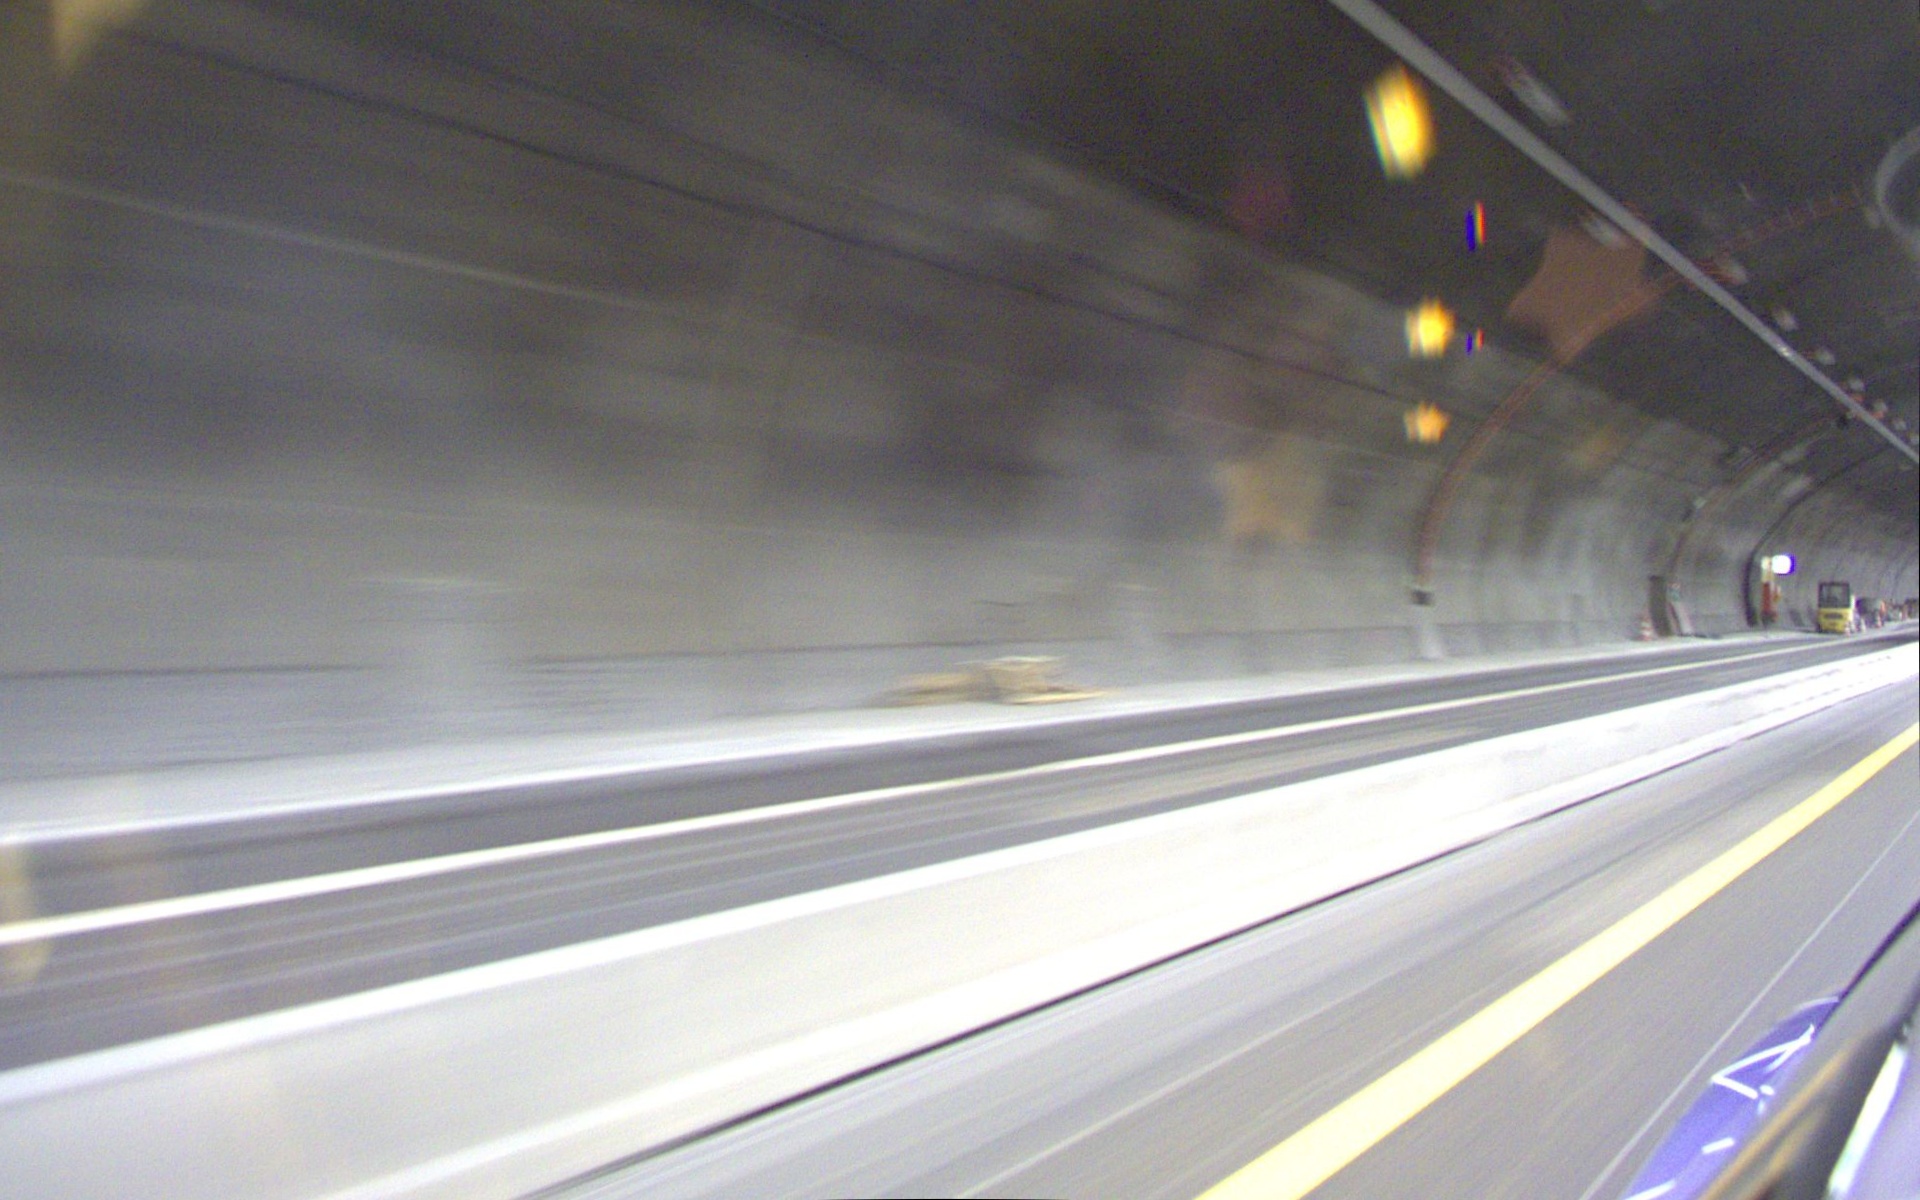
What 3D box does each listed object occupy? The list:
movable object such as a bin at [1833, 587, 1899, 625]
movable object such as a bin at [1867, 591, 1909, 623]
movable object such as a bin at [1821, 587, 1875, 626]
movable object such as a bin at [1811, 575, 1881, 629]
[{"bbox_3d":[45.692,0.287,51.025,4.423,1.695,1.865,0,4,-42],"label":"movable object such as a bin"},{"bbox_3d":[50.250,0.370,54.786,3.002,1.613,1.306,0,4,-42],"label":"movable object such as a bin"},{"bbox_3d":[41.515,0.284,47.298,3.002,1.730,1.558,-1,1,-41],"label":"movable object such as a bin"},{"bbox_3d":[37.724,0.040,43.058,4.548,2.172,1.686,-1,1,-42],"label":"movable object such as a bin"}]
